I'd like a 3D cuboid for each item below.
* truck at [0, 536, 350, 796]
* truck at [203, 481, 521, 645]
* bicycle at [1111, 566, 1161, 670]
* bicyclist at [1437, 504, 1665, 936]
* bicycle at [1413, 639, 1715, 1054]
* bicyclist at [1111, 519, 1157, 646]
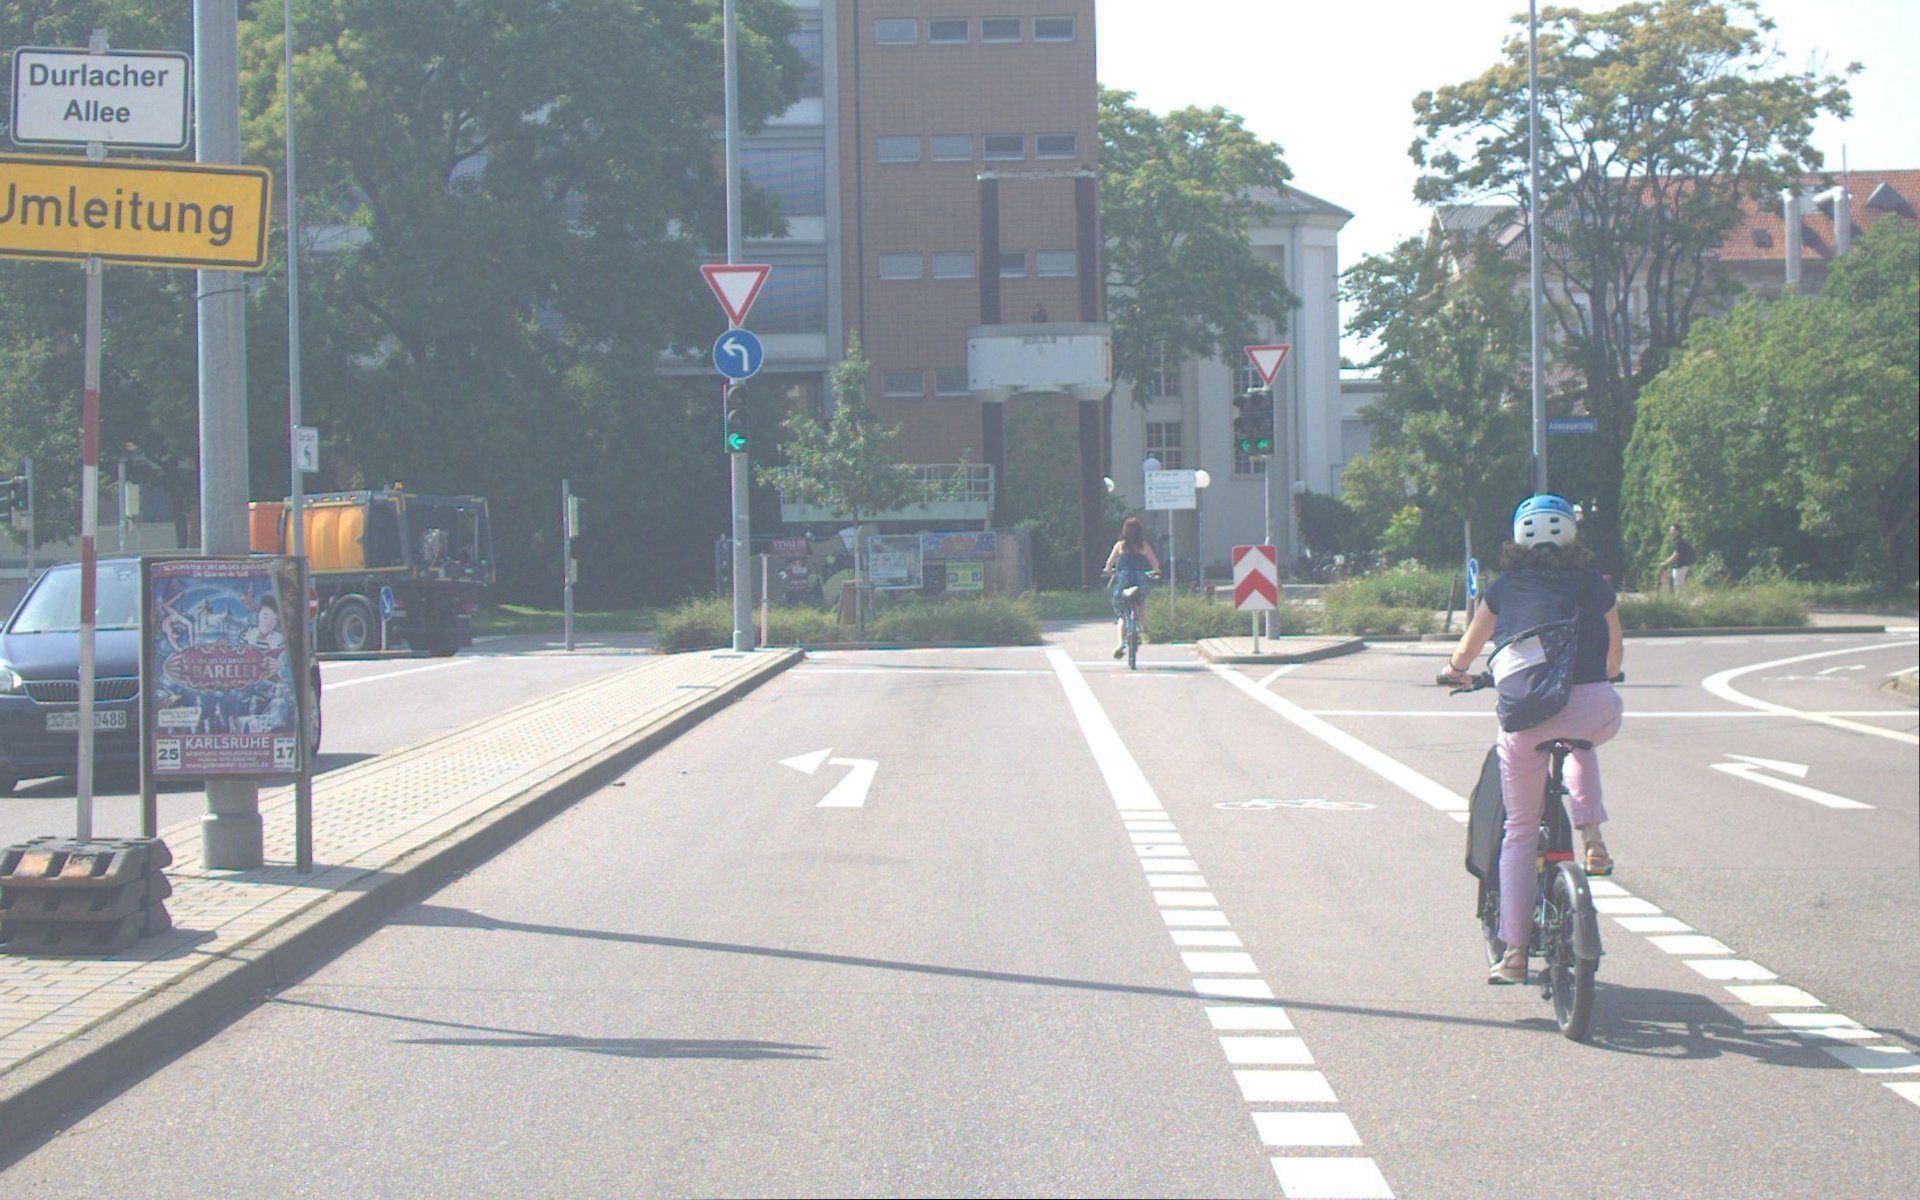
[{"bbox_3d":[-5.045,0.360,22.207,1.555,1.499,3.621,-1,1,-1],"label":"truck"},{"bbox_3d":[-11.459,-0.691,65.687,5.960,2.979,2.699,0,1,39],"label":"truck"},{"bbox_3d":[1.966,0.190,38.515,0.444,1.113,1.446,-1,1,-1],"label":"bicycle"},{"bbox_3d":[1.877,0.366,10.982,0.602,1.330,0.660,-1,1,0],"label":"bicyclist"},{"bbox_3d":[1.899,0.737,11.033,0.604,1.159,1.811,-1,1,-1],"label":"bicycle"},{"bbox_3d":[1.958,-0.198,38.725,0.449,1.416,0.496,-1,1,0],"label":"bicyclist"}]
